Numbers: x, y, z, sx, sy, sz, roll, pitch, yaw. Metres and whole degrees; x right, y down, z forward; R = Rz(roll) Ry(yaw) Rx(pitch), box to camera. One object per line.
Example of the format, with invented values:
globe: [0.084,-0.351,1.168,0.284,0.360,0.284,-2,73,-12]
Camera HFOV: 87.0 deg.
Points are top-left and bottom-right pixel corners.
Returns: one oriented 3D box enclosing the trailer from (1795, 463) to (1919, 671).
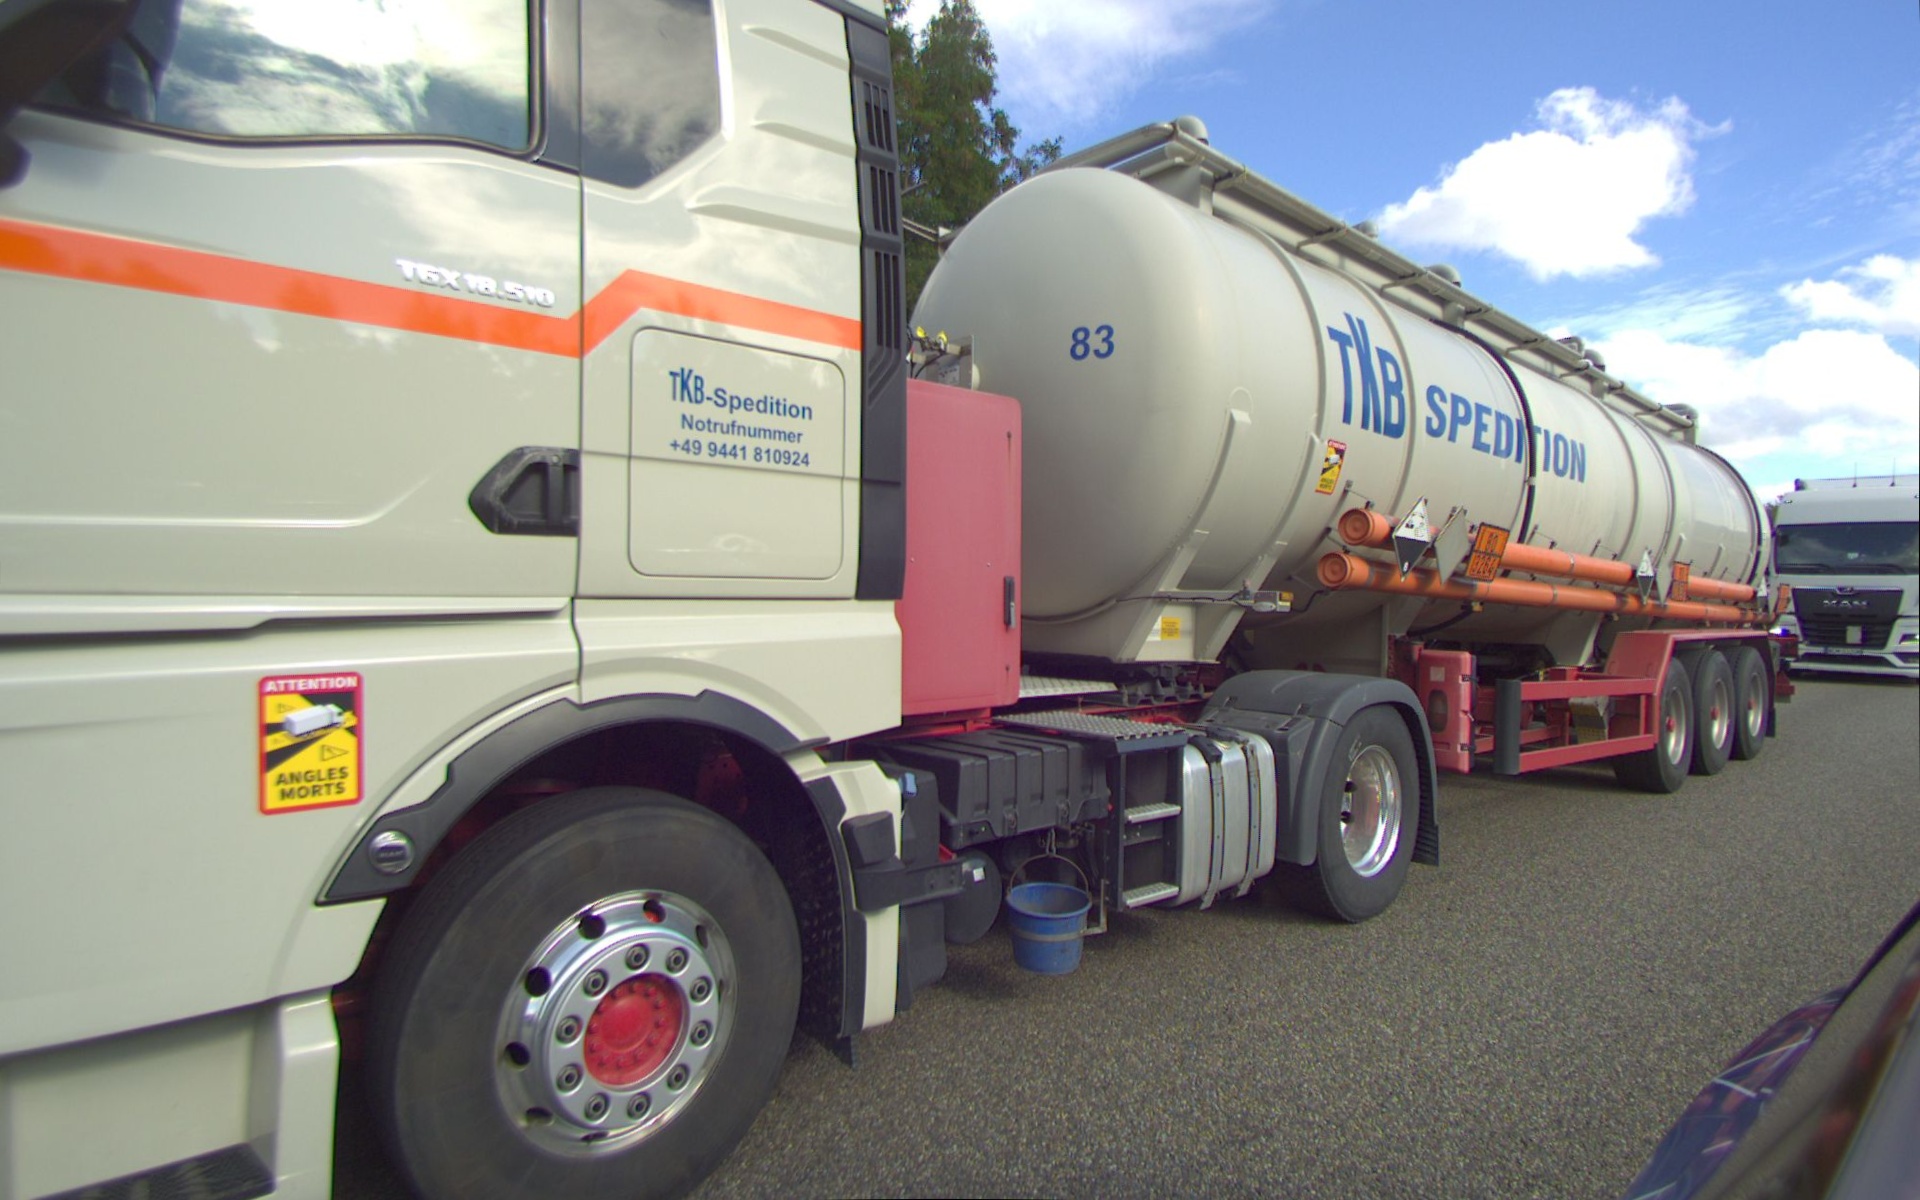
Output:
trailer: [23.673,-0.688,24.764,13.137,4.122,2.831,0,0,-41]

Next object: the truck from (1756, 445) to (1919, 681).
truck: [18.275,-0.665,20.109,5.607,4.123,2.839,0,0,-41]

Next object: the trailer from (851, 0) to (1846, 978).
trailer: [4.438,-0.699,8.346,10.985,4.077,2.803,0,0,-41]

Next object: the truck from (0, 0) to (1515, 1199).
truck: [-0.350,-0.667,4.203,5.800,4.094,2.808,0,0,-41]
